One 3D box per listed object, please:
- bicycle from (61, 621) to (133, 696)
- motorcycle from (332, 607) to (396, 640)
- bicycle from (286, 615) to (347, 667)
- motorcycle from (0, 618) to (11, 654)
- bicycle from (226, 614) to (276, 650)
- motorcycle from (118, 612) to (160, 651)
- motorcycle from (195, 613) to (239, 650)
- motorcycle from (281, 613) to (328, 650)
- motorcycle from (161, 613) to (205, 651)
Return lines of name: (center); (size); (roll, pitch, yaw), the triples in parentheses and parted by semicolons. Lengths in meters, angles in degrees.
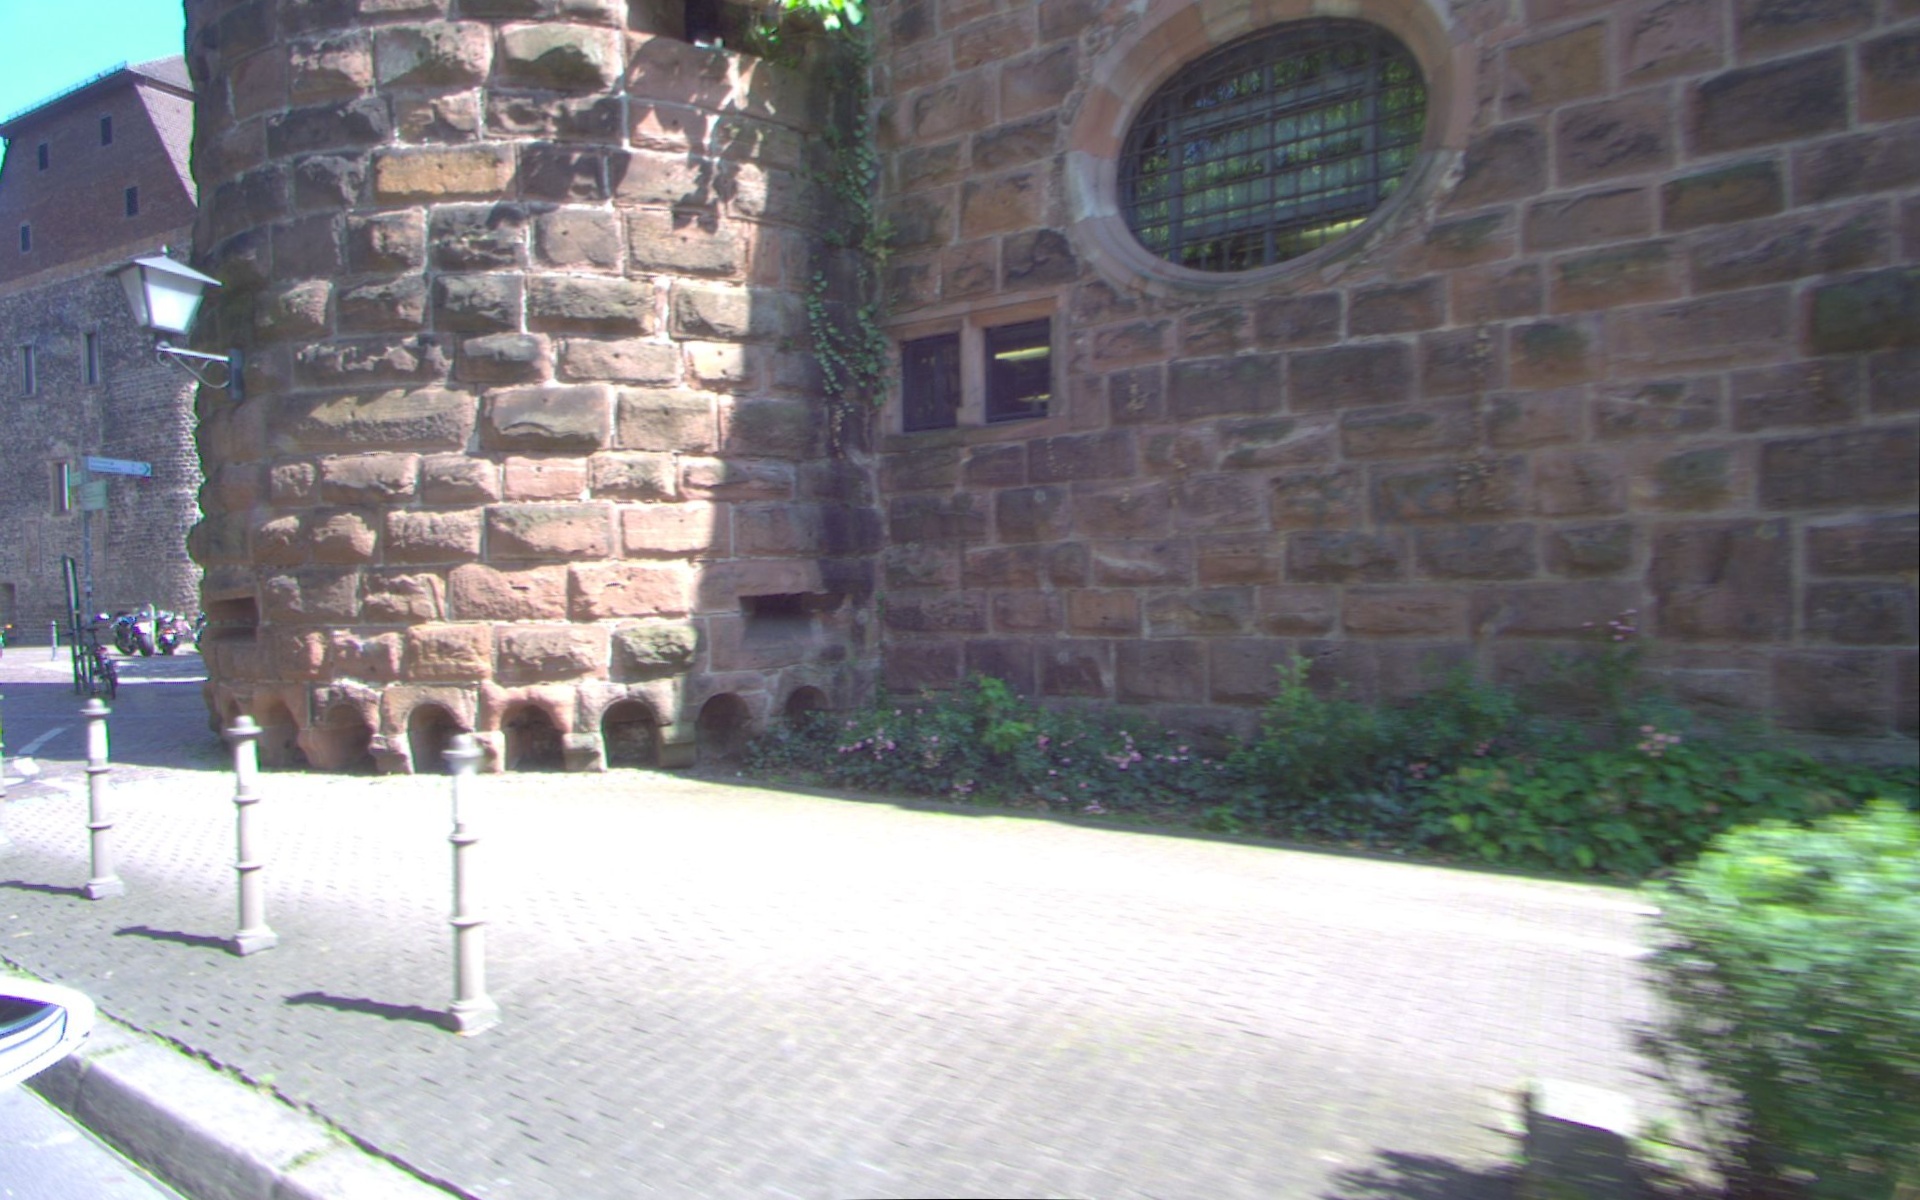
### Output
bicycle: (-12.948, 0.852, 15.002); (2.027, 1.044, 0.493); (-1, 1, 41)
motorcycle: (-19.138, 0.758, 32.170); (0.495, 1.032, 1.686); (-1, -2, 45)
bicycle: (-13.447, 0.843, 20.895); (2.027, 1.043, 0.494); (-1, -2, 41)
motorcycle: (-23.164, 0.839, 23.703); (2.247, 0.829, 0.482); (0, 2, 33)
bicycle: (-19.777, 0.891, 27.909); (1.798, 1.002, 0.403); (-1, -1, 30)
motorcycle: (-21.326, 0.812, 26.003); (1.339, 0.985, 0.435); (-1, -1, 33)
motorcycle: (-20.260, 0.865, 27.297); (1.446, 0.985, 0.457); (-1, -2, 33)
motorcycle: (-18.836, 0.902, 28.760); (1.677, 1.032, 0.498); (-1, -2, 33)
motorcycle: (-20.674, 0.839, 26.634); (1.446, 0.985, 0.457); (-1, -2, 33)
